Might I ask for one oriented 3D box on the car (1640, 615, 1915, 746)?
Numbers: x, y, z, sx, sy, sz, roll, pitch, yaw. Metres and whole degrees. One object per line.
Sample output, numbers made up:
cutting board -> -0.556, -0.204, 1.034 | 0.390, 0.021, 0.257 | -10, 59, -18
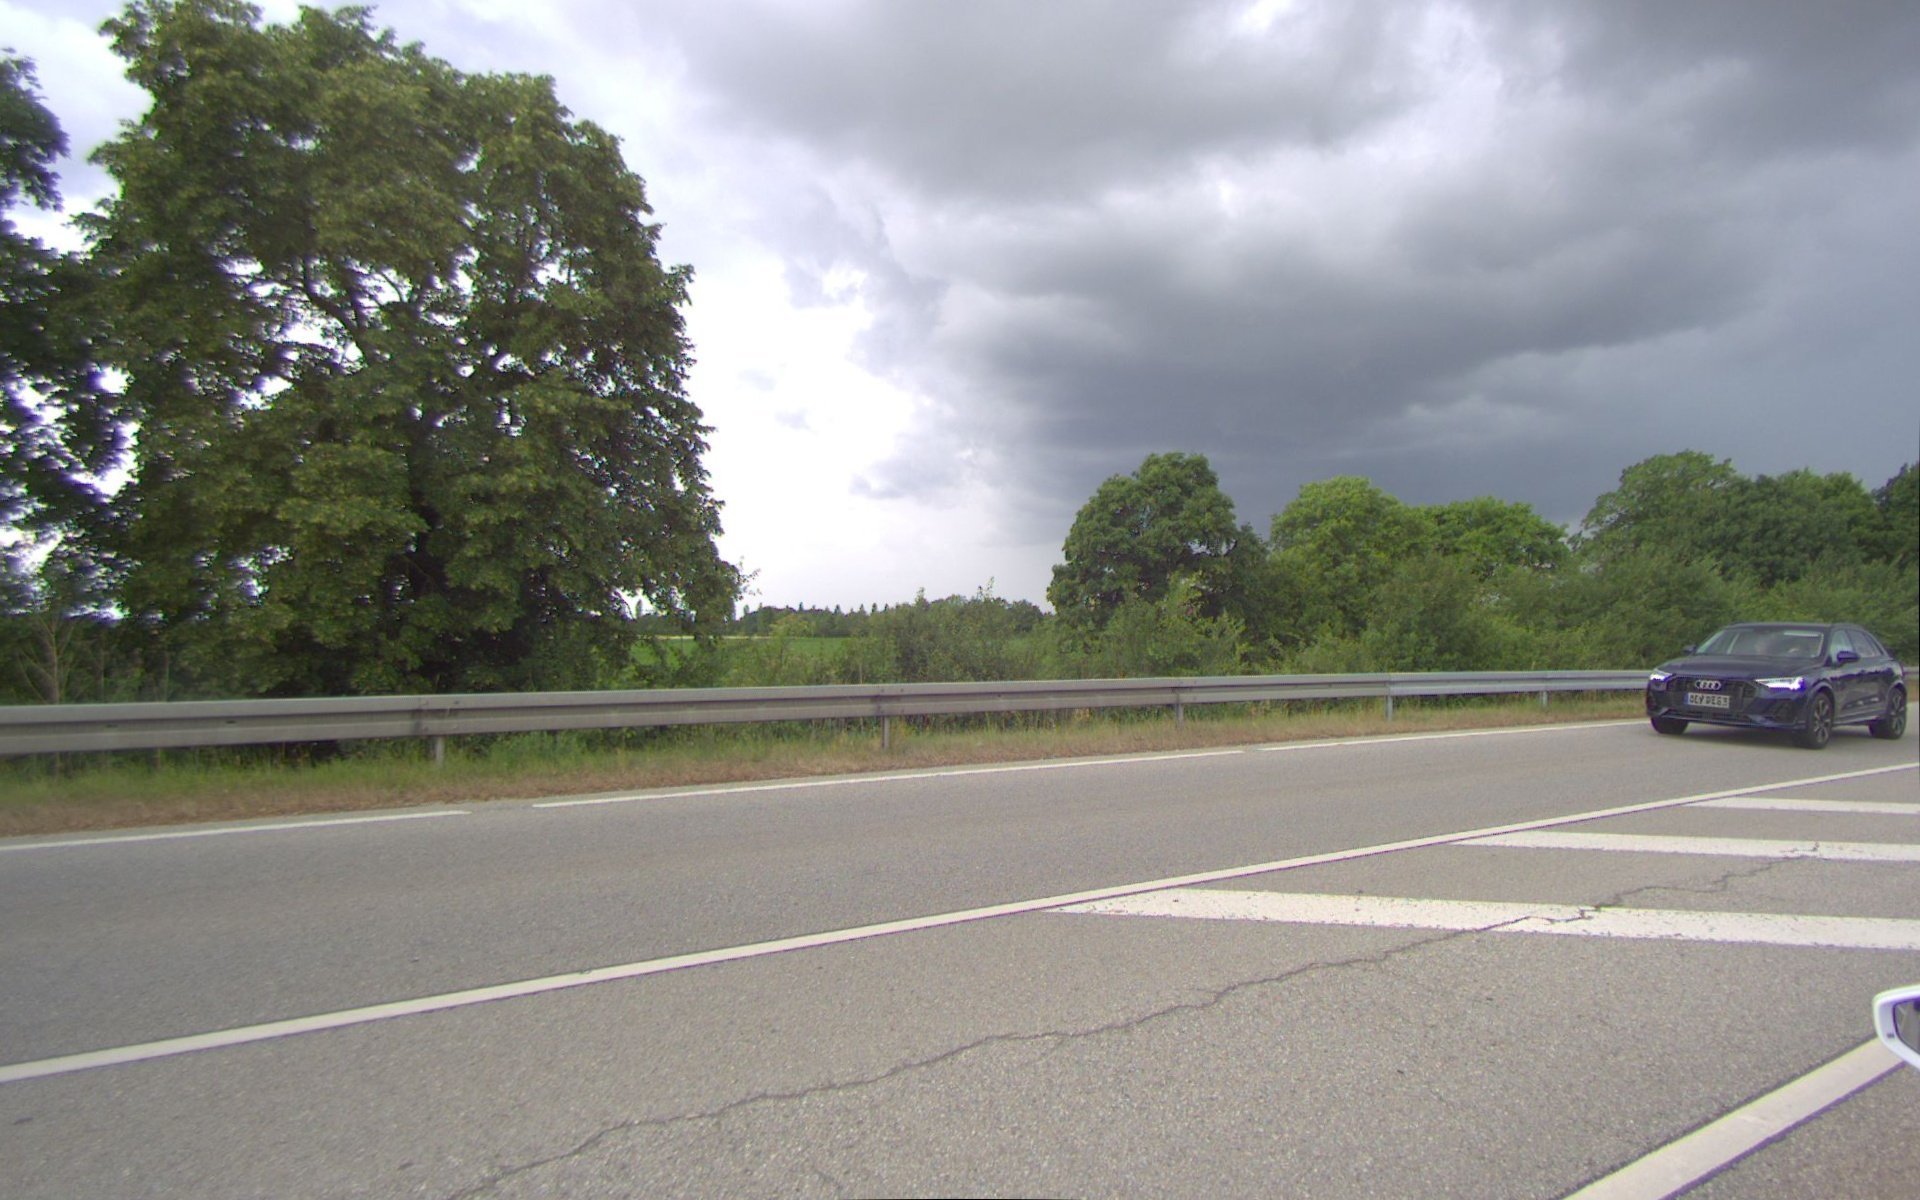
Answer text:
car -> 11.354, 1.017, 13.885 | 4.162, 1.539, 1.700 | 1, 0, -32
